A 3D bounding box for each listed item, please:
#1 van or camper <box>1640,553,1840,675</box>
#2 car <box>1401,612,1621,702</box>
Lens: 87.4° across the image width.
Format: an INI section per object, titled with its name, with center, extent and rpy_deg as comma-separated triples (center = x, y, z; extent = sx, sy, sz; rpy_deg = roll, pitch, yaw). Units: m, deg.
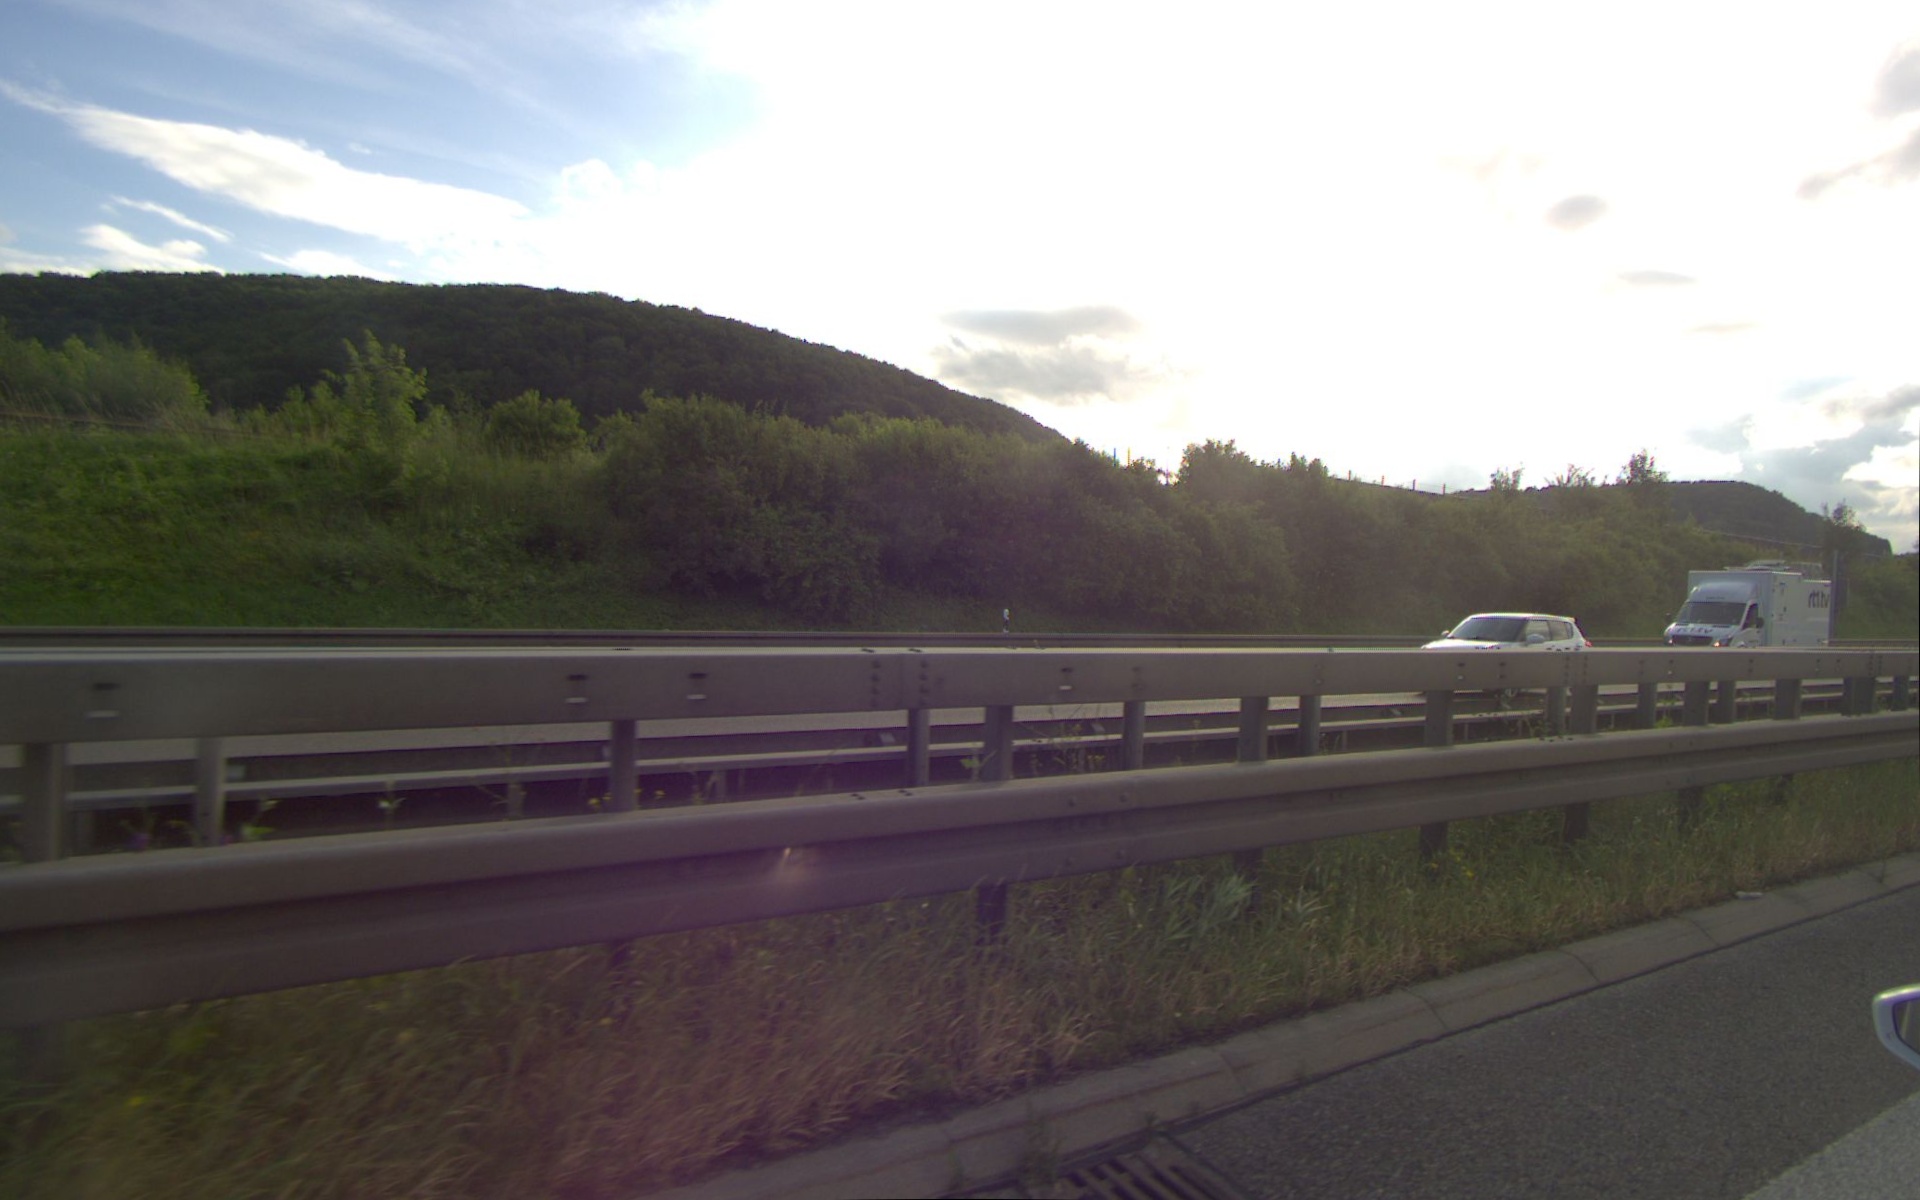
[van or camper]
center = 25.532, 0.507, 32.755
extent = 7.887, 3.599, 2.469
rpy_deg = 2, 0, -31
[car]
center = 10.227, 1.009, 18.558
extent = 4.296, 1.455, 1.635
rpy_deg = 2, 0, -31
